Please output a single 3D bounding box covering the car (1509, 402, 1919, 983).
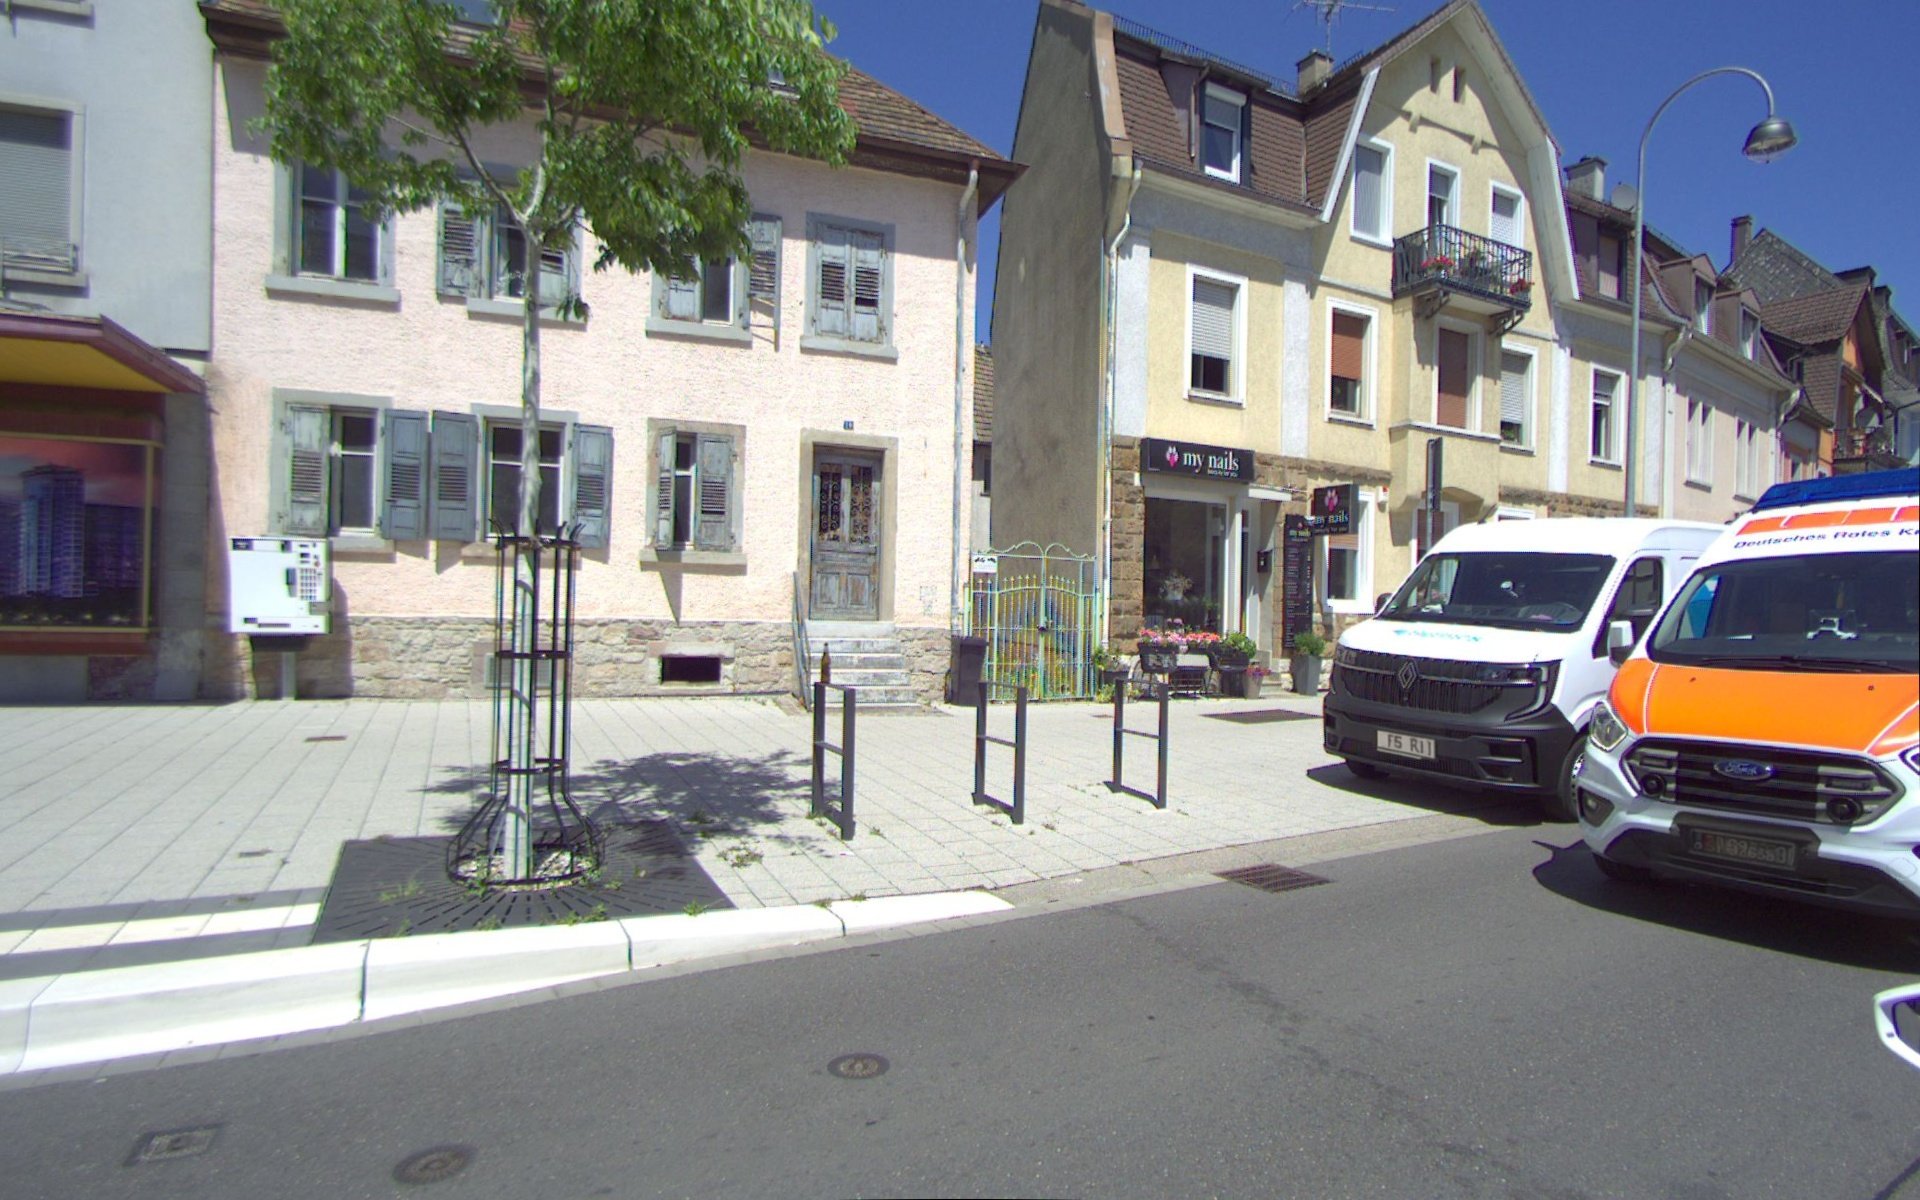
[{"bbox_3d":[5.747,0.445,6.128,5.195,2.393,2.142,1,-2,-35],"label":"car"}]

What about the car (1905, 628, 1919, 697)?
[{"bbox_3d":[23.334,1.471,22.868,4.297,1.501,1.901,1,2,-37],"label":"car"}]

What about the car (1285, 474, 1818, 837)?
[{"bbox_3d":[5.699,0.418,9.401,5.446,2.531,2.079,2,1,-34],"label":"car"}]
